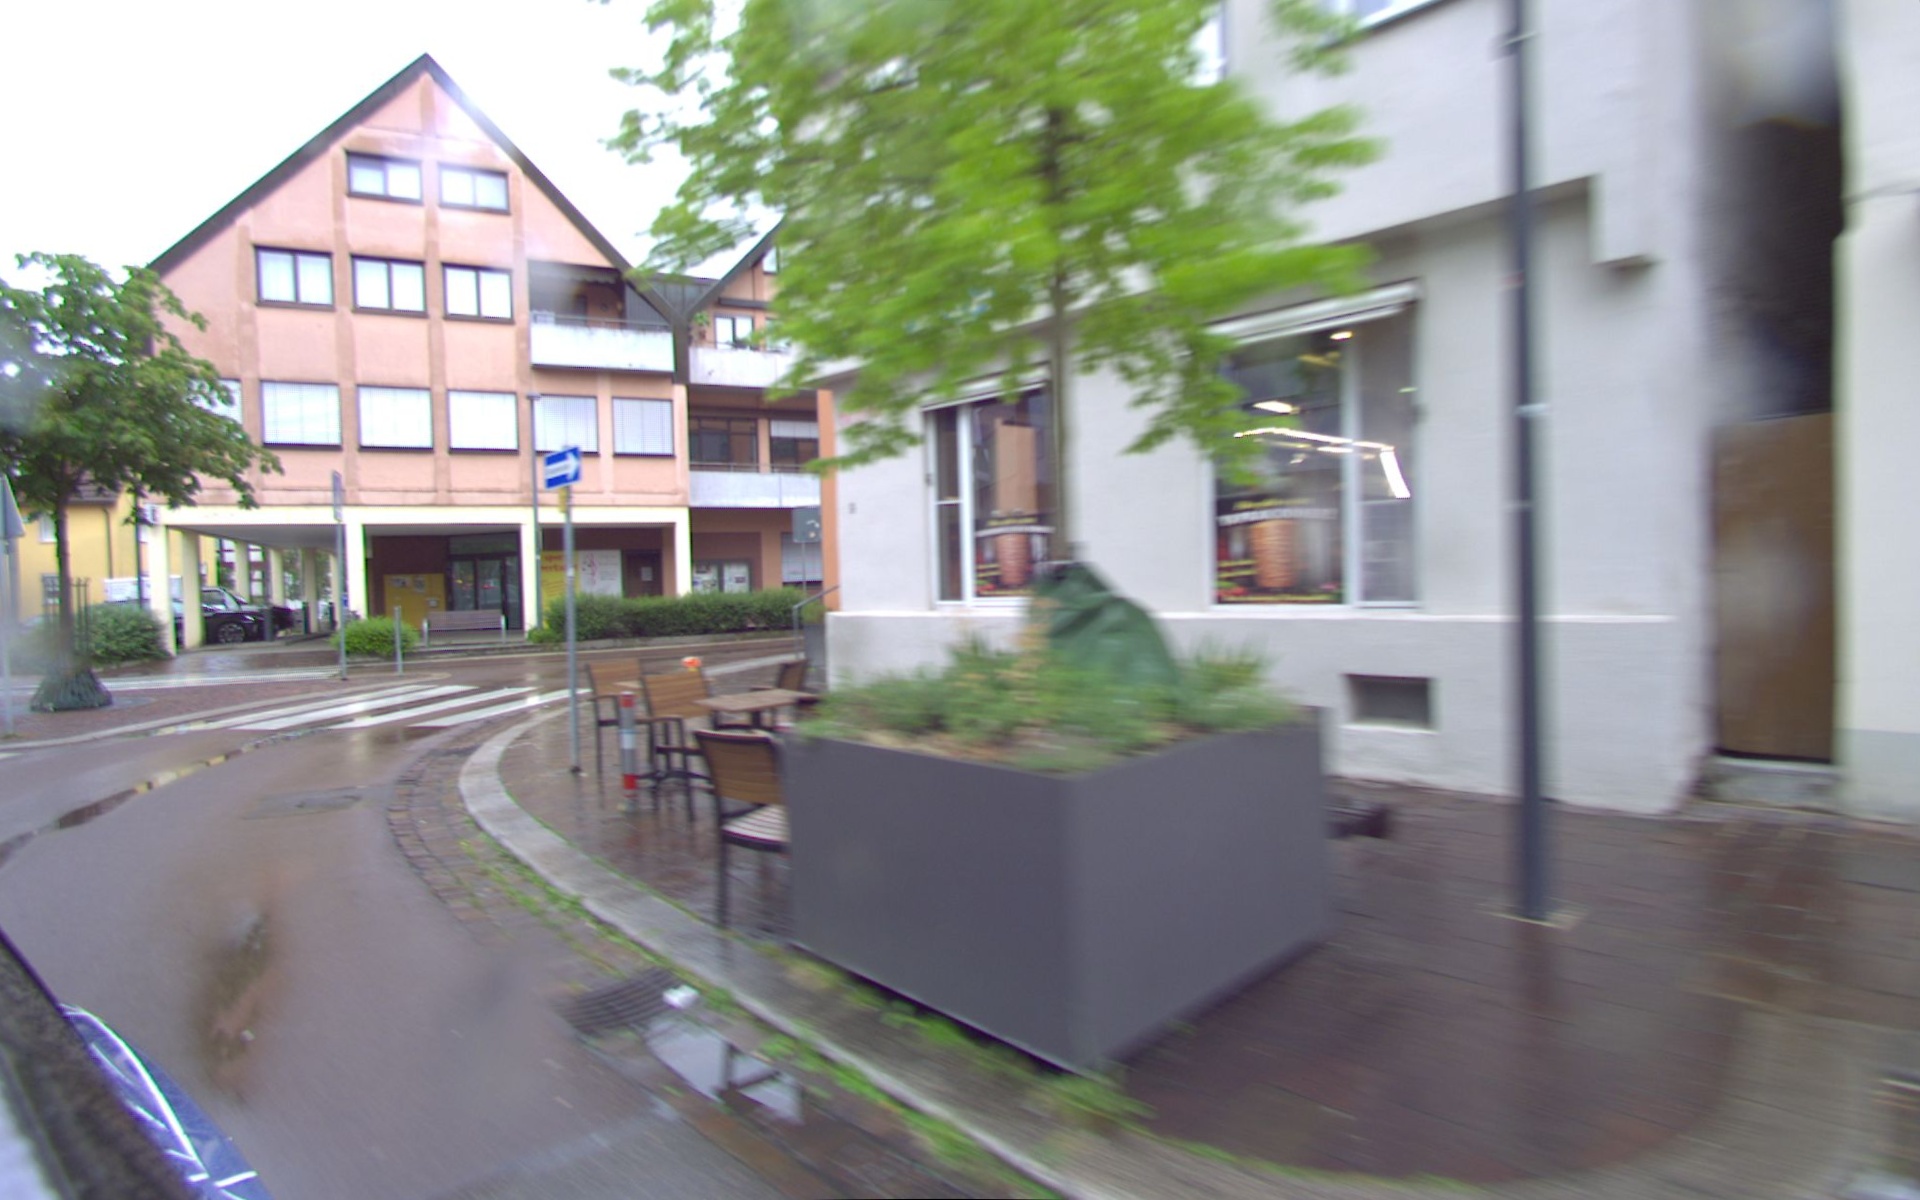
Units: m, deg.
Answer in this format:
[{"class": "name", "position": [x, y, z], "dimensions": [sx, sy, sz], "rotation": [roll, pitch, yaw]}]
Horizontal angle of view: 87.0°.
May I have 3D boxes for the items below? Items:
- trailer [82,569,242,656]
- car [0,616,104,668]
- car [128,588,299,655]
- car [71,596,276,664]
[{"class": "trailer", "position": [-22.545, 0.329, 28.739], "dimensions": [3.040, 2.103, 1.842], "rotation": [-5, 1, -24]}, {"class": "car", "position": [-33.142, 1.453, 36.170], "dimensions": [1.967, 1.519, 4.556], "rotation": [-1, 2, -12]}, {"class": "car", "position": [-23.461, 0.642, 31.985], "dimensions": [3.932, 1.683, 1.842], "rotation": [-6, 1, -24]}, {"class": "car", "position": [-20.773, 0.744, 26.952], "dimensions": [3.931, 1.519, 1.842], "rotation": [-2, 2, -24]}]
